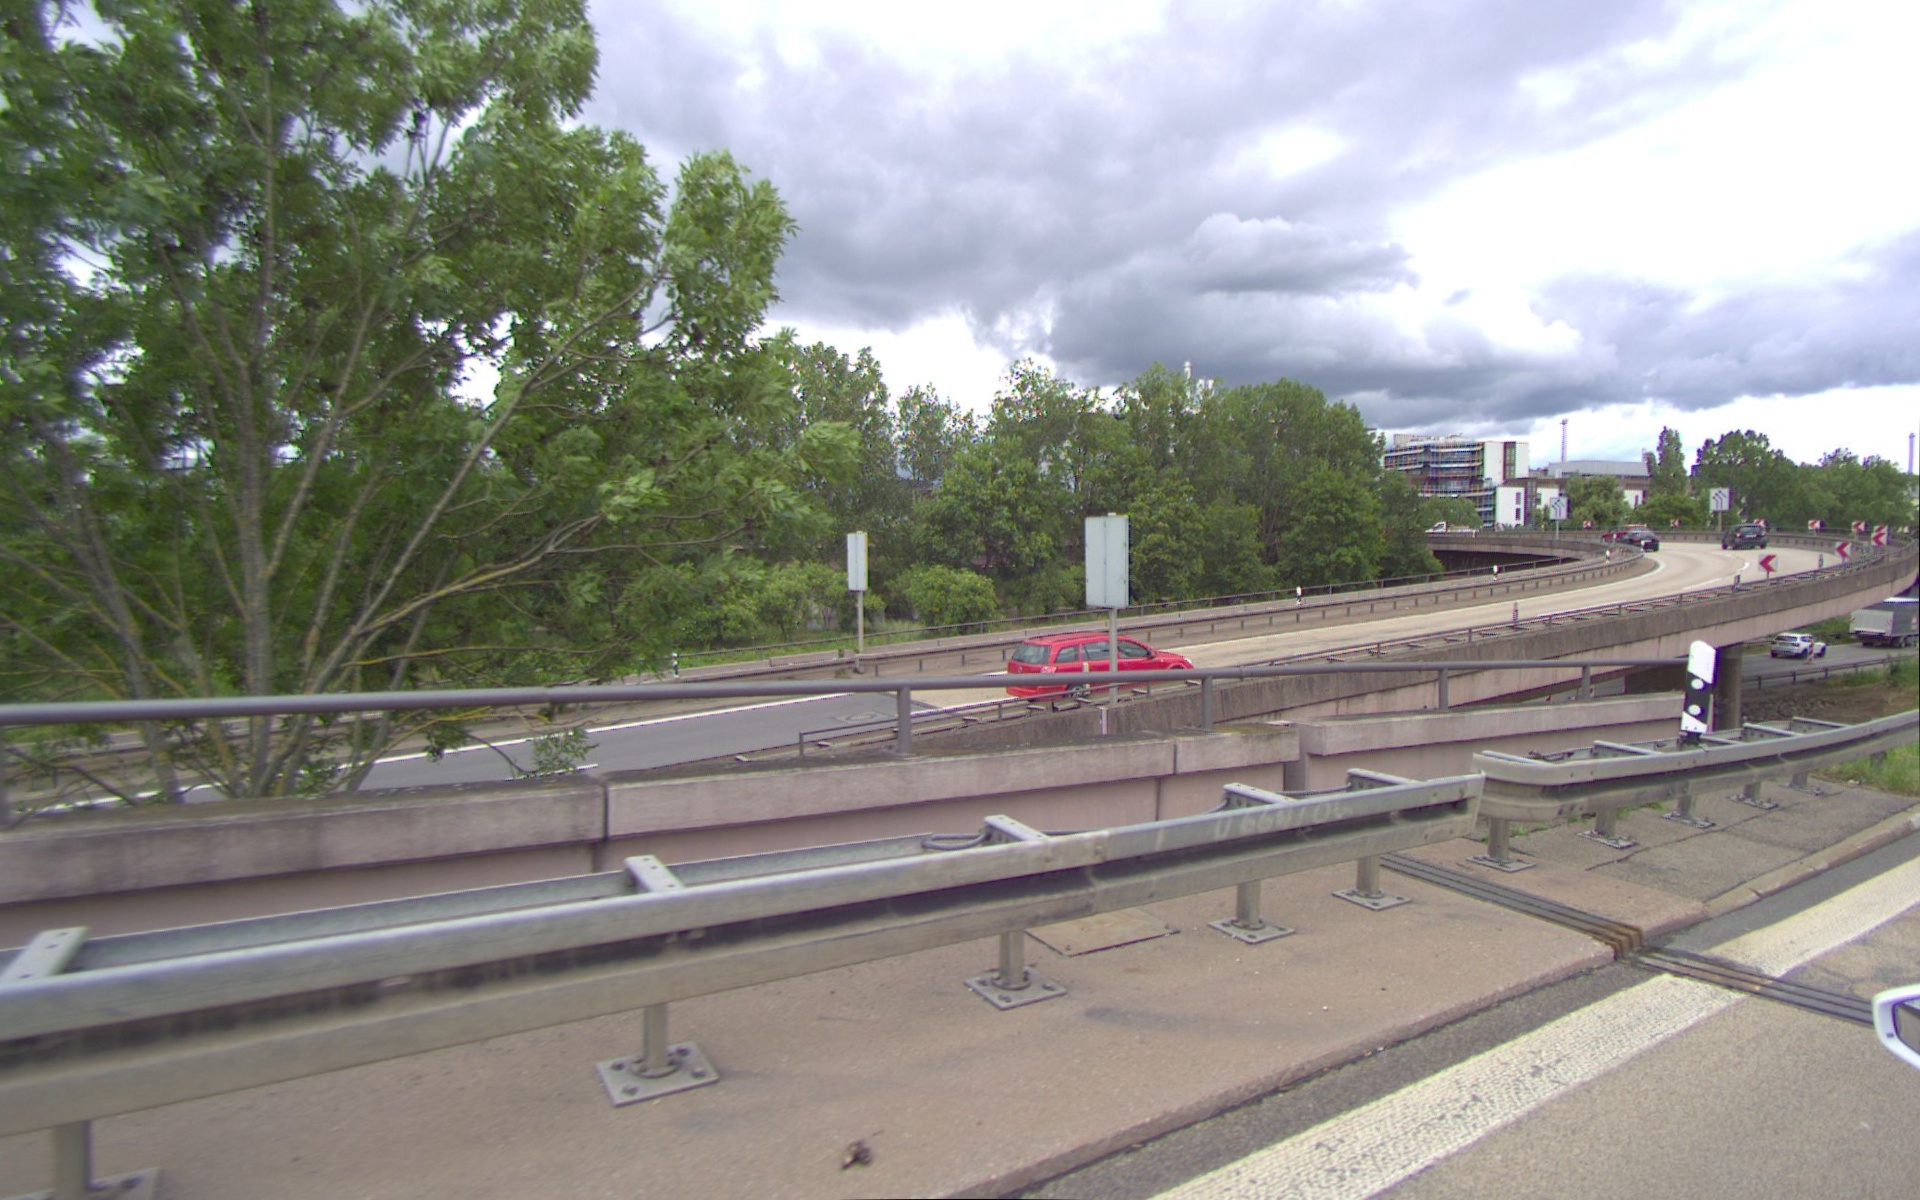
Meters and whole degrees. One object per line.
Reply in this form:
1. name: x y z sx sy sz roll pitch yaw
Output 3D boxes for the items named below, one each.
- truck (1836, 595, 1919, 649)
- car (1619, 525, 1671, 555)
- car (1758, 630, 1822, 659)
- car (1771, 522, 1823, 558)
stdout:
1. truck: 70.855 1.614 77.331 7.312 3.706 3.034 -1 3 -32
2. car: 46.623 -4.059 68.431 1.961 1.795 3.999 2 0 20
3. car: 57.822 3.066 69.970 4.050 1.736 1.985 -1 3 -29
4. car: 47.527 -3.375 57.004 1.972 1.795 3.976 3 1 44
